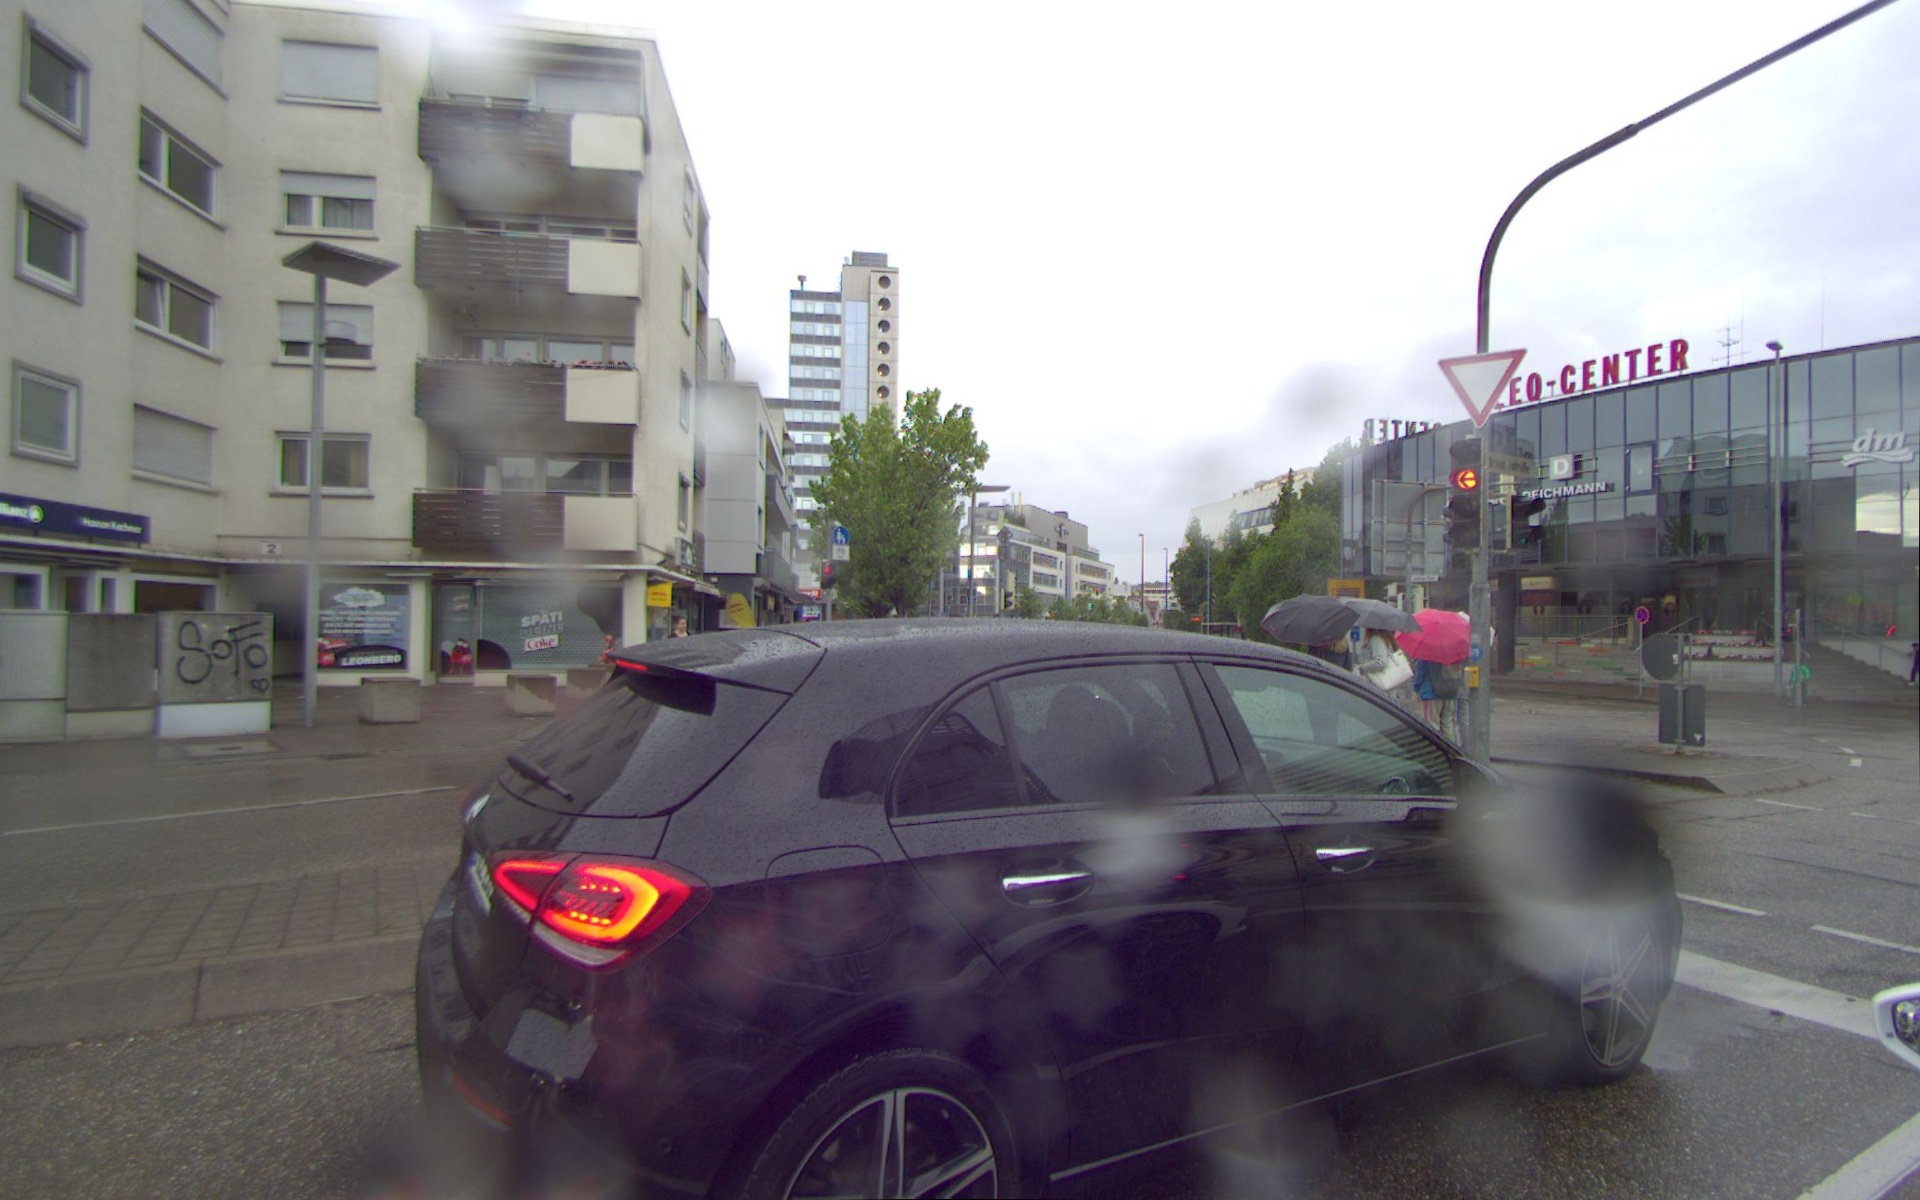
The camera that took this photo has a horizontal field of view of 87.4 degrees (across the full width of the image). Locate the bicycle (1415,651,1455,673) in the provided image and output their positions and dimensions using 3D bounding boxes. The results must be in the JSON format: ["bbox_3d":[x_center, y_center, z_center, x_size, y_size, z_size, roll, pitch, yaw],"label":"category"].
[{"bbox_3d":[24.689,3.202,52.232,1.822,1.056,0.646,-1,-2,-11],"label":"bicycle"}]

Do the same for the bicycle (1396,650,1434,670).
[{"bbox_3d":[24.312,3.214,53.642,1.821,0.964,0.535,-1,0,-8],"label":"bicycle"}]

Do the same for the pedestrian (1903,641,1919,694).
[{"bbox_3d":[35.006,2.465,36.714,0.589,1.933,0.651,2,-1,-37],"label":"pedestrian"}]

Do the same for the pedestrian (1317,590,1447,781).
[{"bbox_3d":[4.146,0.817,9.960,0.843,1.767,1.139,1,-2,3],"label":"pedestrian"}]

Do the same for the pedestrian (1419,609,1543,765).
[{"bbox_3d":[5.999,0.973,11.578,0.906,1.699,0.931,2,-2,-30],"label":"pedestrian"}]

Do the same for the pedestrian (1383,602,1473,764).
[{"bbox_3d":[5.150,0.897,11.090,0.790,1.707,0.674,1,-2,14],"label":"pedestrian"}]

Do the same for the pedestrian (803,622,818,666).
[{"bbox_3d":[-6.239,1.825,41.893,0.557,1.817,0.491,1,-2,-4],"label":"pedestrian"}]

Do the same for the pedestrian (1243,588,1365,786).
[{"bbox_3d":[3.273,0.795,9.534,0.937,1.759,0.835,0,-2,31],"label":"pedestrian"}]

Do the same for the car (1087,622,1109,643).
[{"bbox_3d":[13.247,3.125,96.534,2.008,1.921,4.141,1,-1,7],"label":"car"}]

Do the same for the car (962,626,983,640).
[{"bbox_3d":[1.299,3.494,106.029,1.414,1.314,3.770,2,-1,-10],"label":"car"}]

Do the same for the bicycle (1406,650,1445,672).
[{"bbox_3d":[24.539,3.207,52.976,1.822,1.047,0.628,-1,-2,-11],"label":"bicycle"}]

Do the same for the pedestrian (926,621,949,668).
[{"bbox_3d":[-0.809,1.588,35.924,0.799,1.677,0.714,1,-2,-3],"label":"pedestrian"}]

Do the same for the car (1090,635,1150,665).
[{"bbox_3d":[8.538,2.661,53.888,1.717,1.460,3.981,1,-1,-15],"label":"car"}]

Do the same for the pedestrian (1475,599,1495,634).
[{"bbox_3d":[26.791,0.842,51.268,0.642,1.736,0.599,2,0,-6],"label":"pedestrian"}]

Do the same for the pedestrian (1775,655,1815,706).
[{"bbox_3d":[27.923,2.673,33.583,0.803,1.644,0.940,2,-2,-42],"label":"pedestrian"}]

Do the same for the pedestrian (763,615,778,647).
[{"bbox_3d":[-12.264,1.989,65.005,0.859,2.040,0.923,1,-2,-10],"label":"pedestrian"}]

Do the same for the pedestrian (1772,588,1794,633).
[{"bbox_3d":[34.521,0.437,42.119,0.625,1.831,0.501,2,0,44],"label":"pedestrian"}]

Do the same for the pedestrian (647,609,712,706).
[{"bbox_3d":[-4.774,0.967,17.098,0.904,1.606,0.651,2,-2,-33],"label":"pedestrian"}]

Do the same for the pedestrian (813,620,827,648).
[{"bbox_3d":[-9.123,2.209,65.326,0.859,1.835,0.923,1,-2,-10],"label":"pedestrian"}]

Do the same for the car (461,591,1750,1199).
[{"bbox_3d":[0.697,0.759,3.277,4.048,1.501,1.654,1,0,-32],"label":"car"}]

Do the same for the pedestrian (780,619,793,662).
[{"bbox_3d":[-7.111,1.659,41.169,0.441,1.746,0.499,1,-2,-12],"label":"pedestrian"}]

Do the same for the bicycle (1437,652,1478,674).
[{"bbox_3d":[25.081,3.163,50.607,1.822,1.036,0.631,-1,-2,-11],"label":"bicycle"}]

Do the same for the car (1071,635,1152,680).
[{"bbox_3d":[5.333,2.005,35.985,2.081,1.432,5.147,2,-2,0],"label":"car"}]
